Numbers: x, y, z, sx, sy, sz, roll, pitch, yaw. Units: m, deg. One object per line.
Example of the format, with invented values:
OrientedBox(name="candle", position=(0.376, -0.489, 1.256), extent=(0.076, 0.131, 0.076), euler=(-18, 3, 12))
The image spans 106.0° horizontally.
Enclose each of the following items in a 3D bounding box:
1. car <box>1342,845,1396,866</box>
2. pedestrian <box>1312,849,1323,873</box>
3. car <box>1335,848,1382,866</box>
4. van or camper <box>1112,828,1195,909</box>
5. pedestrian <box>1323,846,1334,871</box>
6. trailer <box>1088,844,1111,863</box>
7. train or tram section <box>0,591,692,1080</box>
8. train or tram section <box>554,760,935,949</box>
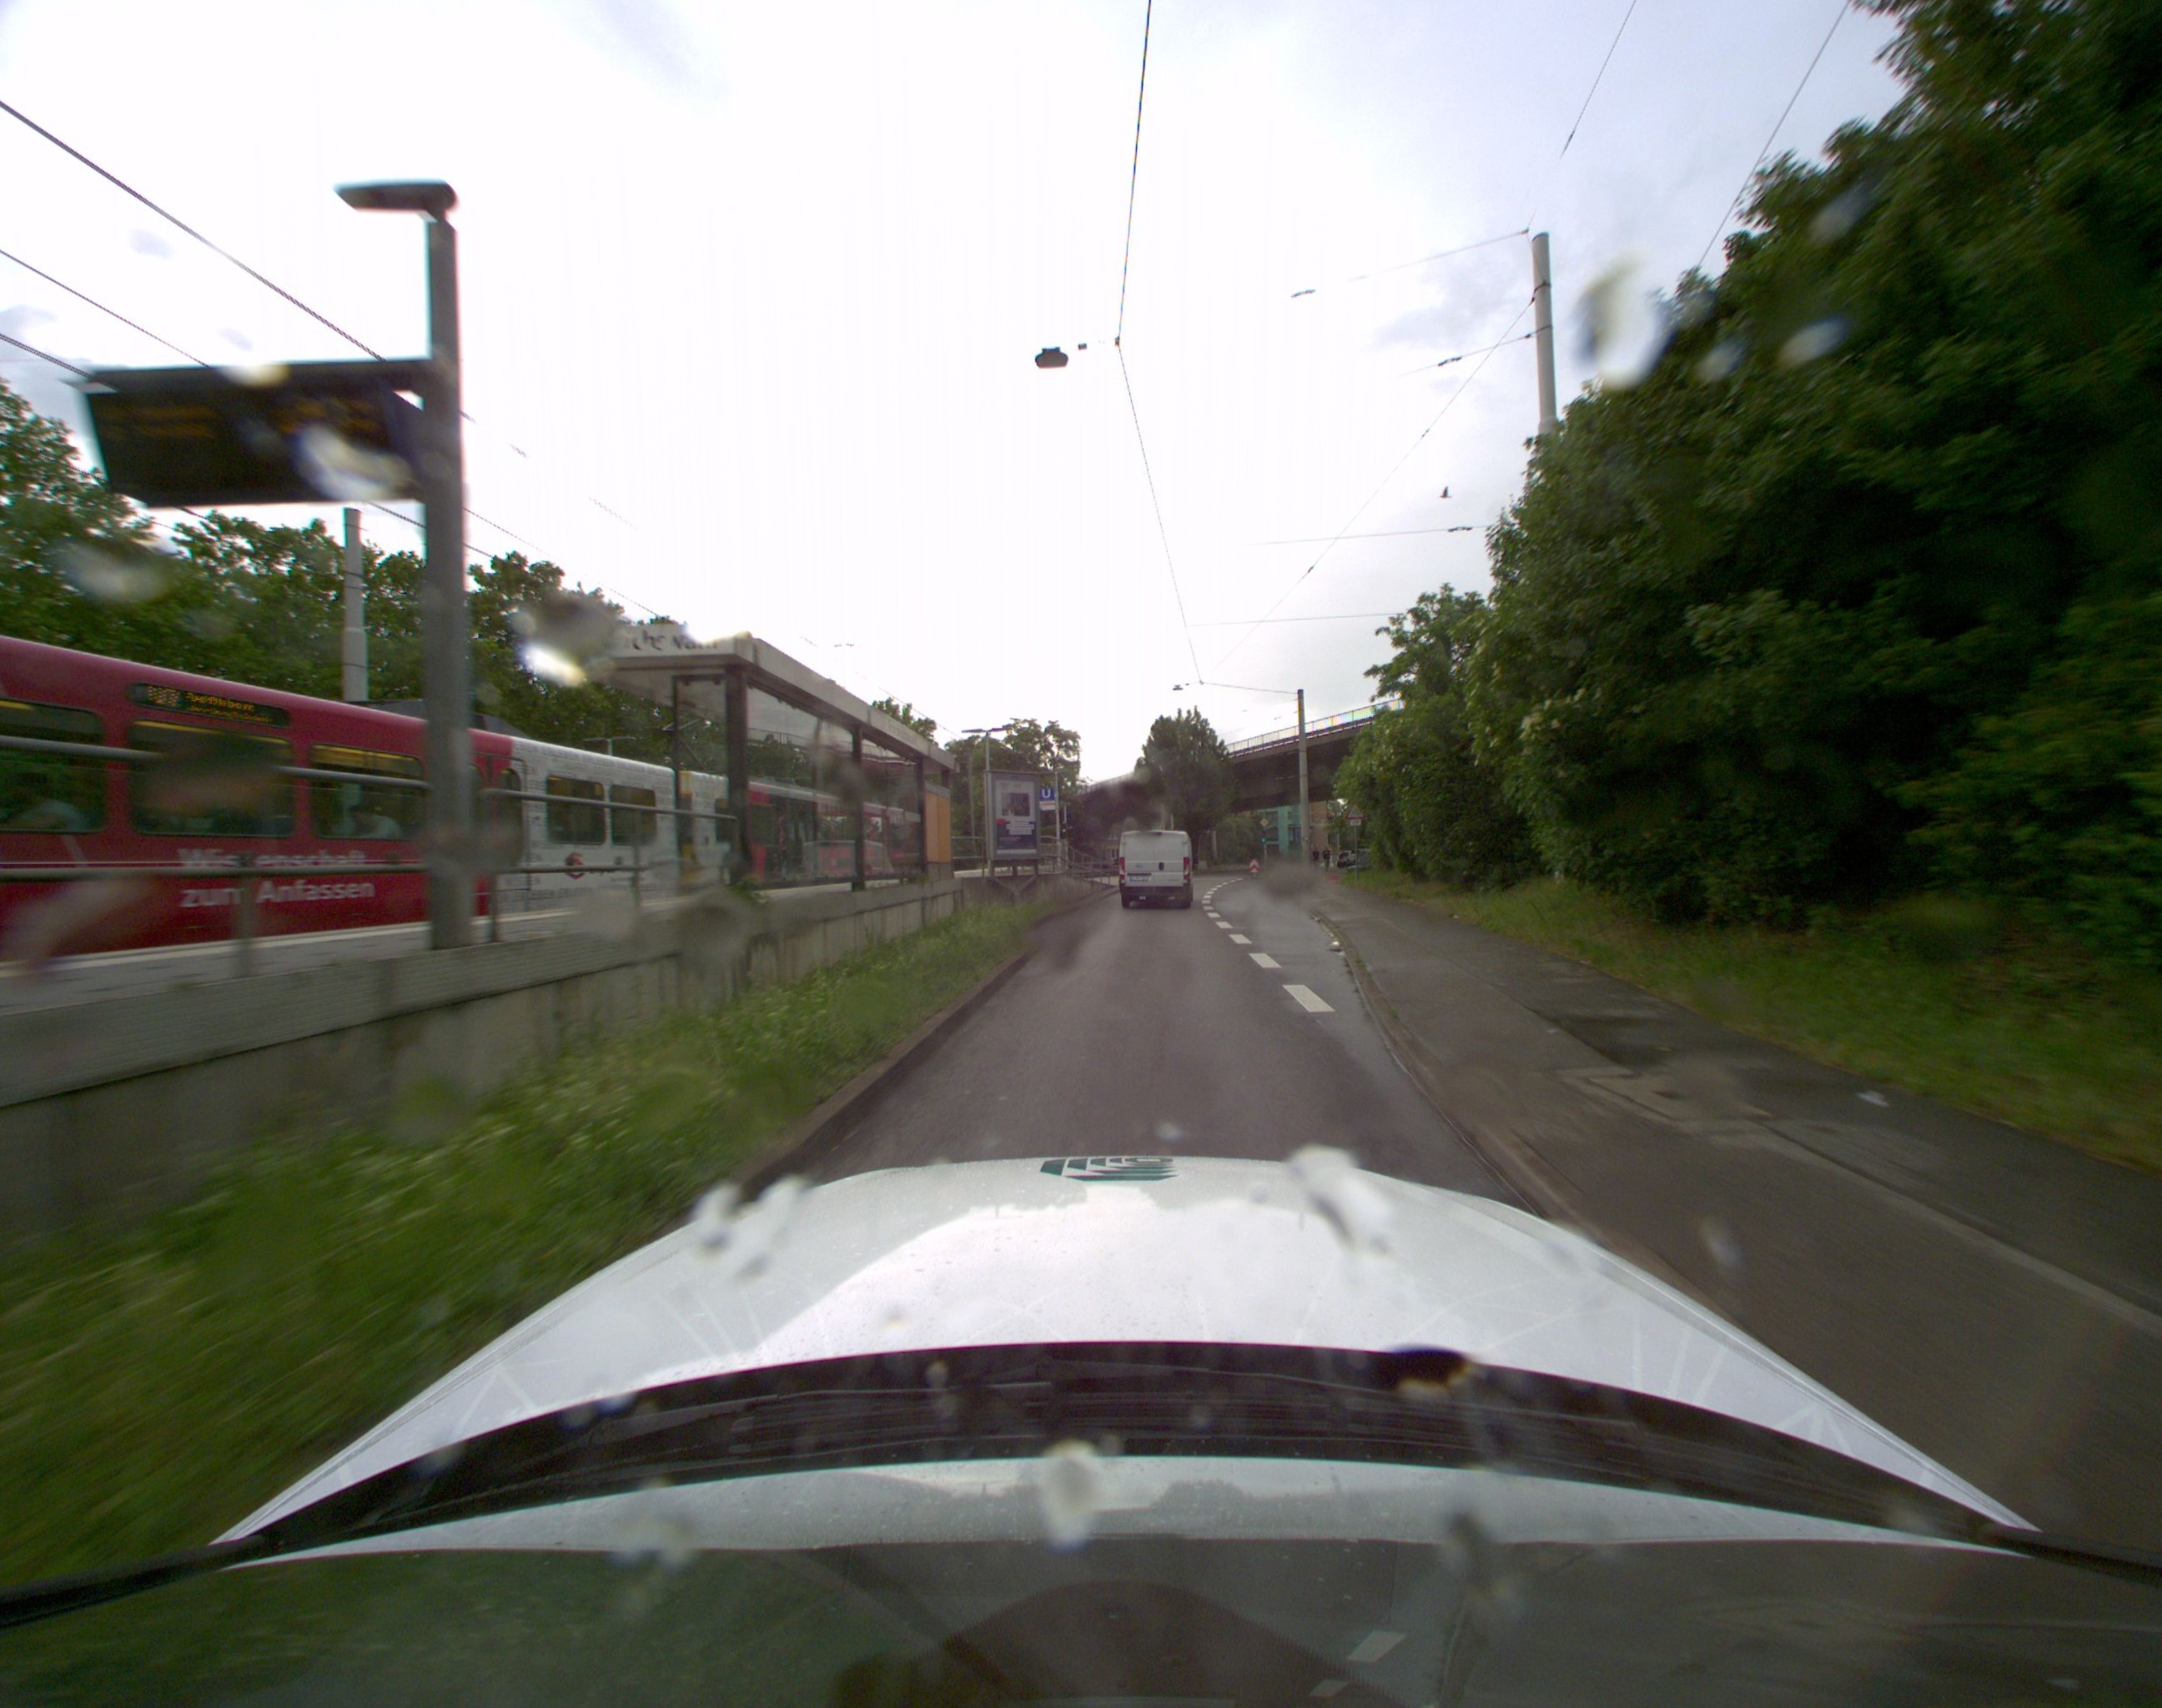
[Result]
OrientedBox(name="car", position=(24.215, 0.127, 68.515), extent=(4.030, 1.631, 1.951), euler=(0, -1, -25))
OrientedBox(name="pedestrian", position=(17.463, 0.527, 60.182), extent=(0.623, 1.808, 0.836), euler=(1, -1, 2))
OrientedBox(name="car", position=(24.236, 0.252, 71.167), extent=(3.741, 1.522, 1.788), euler=(0, -1, -25))
OrientedBox(name="van or camper", position=(2.356, 0.433, 25.101), extent=(2.186, 2.253, 4.695), euler=(1, -1, 9))
OrientedBox(name="pedestrian", position=(18.211, 0.329, 59.945), extent=(0.595, 1.822, 0.910), euler=(1, -1, 2))
OrientedBox(name="trailer", position=(2.699, -0.099, 118.669), extent=(2.000, 2.725, 4.095), euler=(0, -1, -20))
OrientedBox(name="train or tram section", position=(-10.154, -0.151, 7.571), extent=(2.856, 3.971, 19.342), euler=(1, -1, 3))
OrientedBox(name="train or tram section", position=(-8.877, 0.145, 26.893), extent=(2.854, 3.961, 19.356), euler=(1, -1, 5))
